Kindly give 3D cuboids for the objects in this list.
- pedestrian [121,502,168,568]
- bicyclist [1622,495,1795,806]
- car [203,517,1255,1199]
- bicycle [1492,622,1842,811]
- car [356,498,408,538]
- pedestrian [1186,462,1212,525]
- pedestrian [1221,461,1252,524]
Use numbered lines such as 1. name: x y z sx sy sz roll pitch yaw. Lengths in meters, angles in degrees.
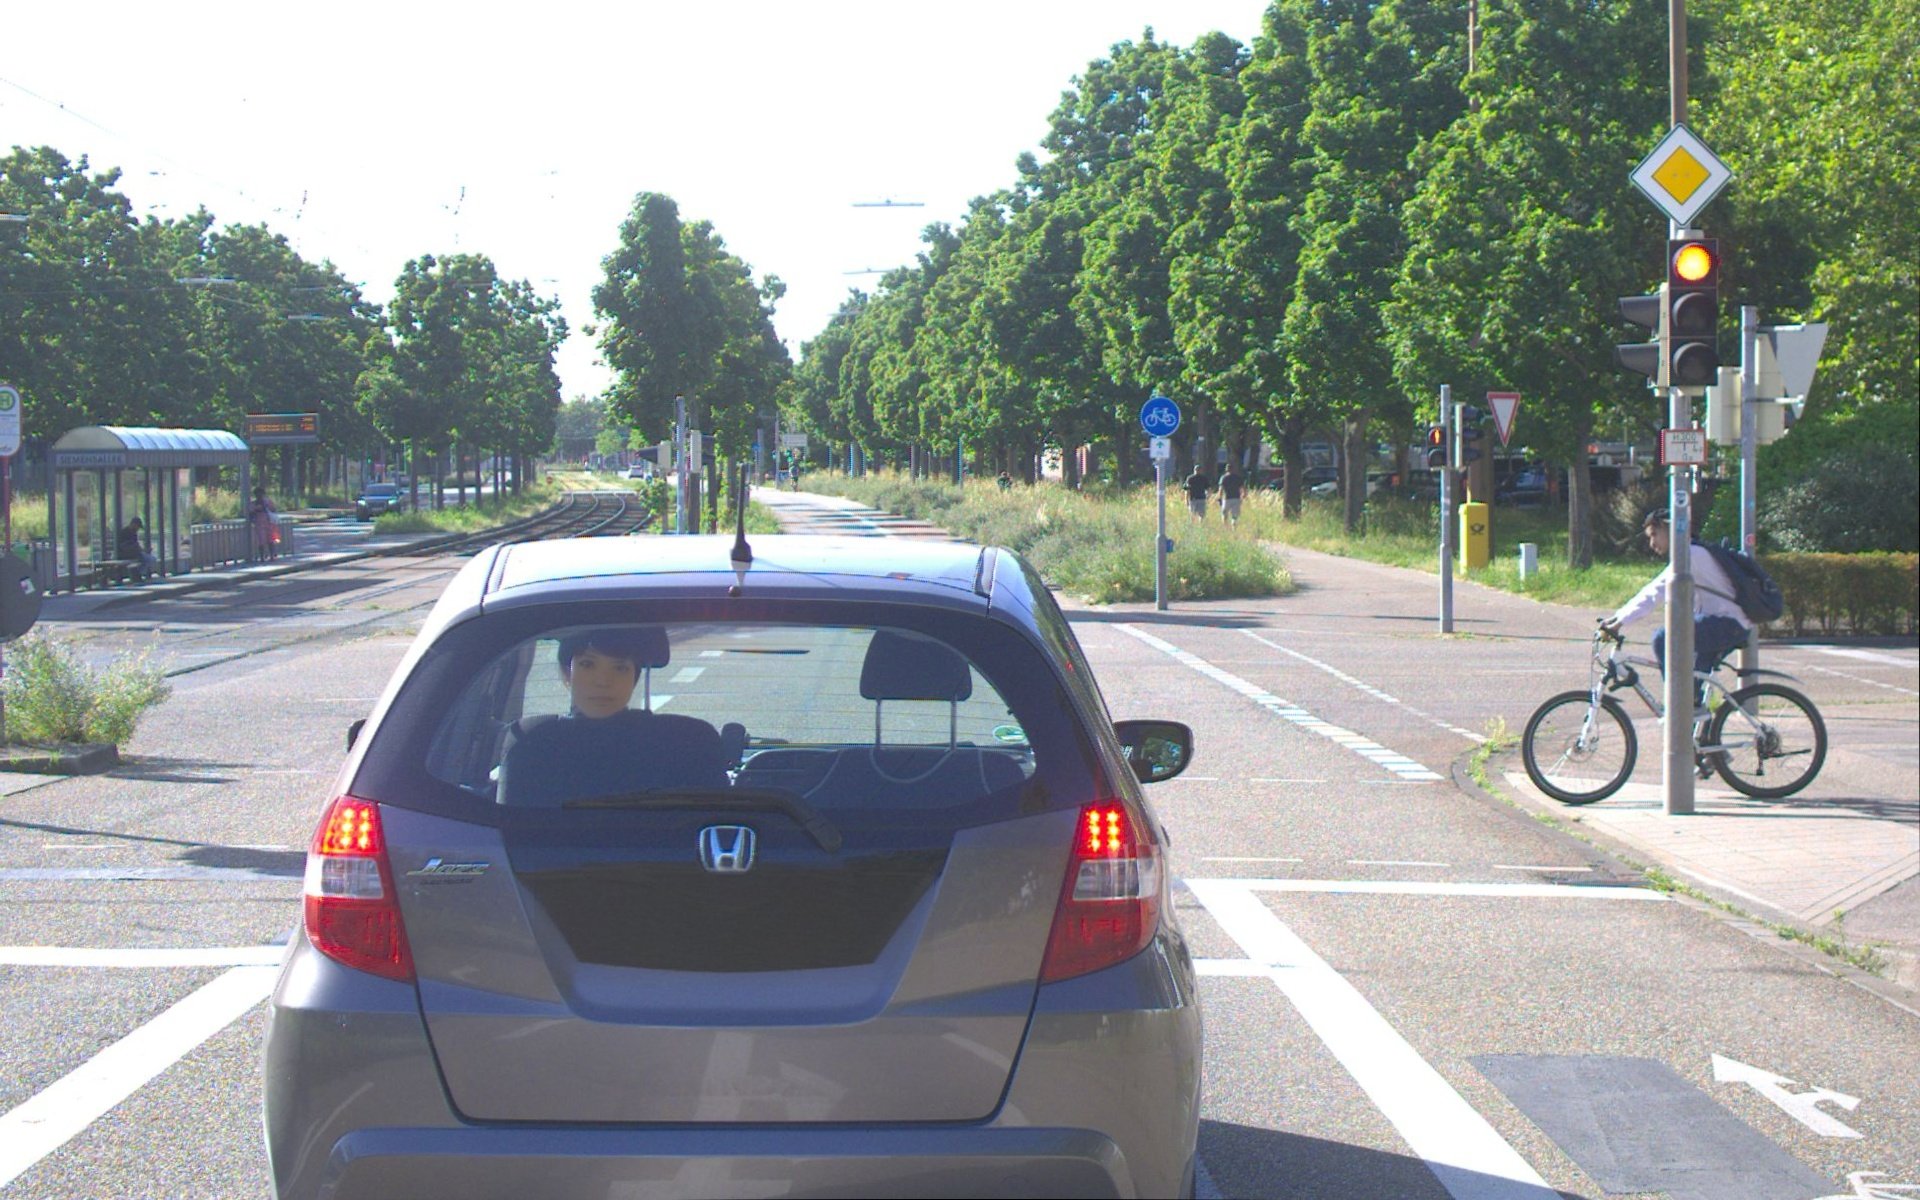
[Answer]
1. pedestrian: -15.570 -1.238 65.628 0.721 1.241 0.711 -1 1 -2
2. bicyclist: 4.293 0.282 19.779 0.910 1.739 0.764 -1 1 10
3. car: -0.381 0.586 7.623 1.707 1.503 4.000 1 1 0
4. bicycle: 4.060 0.657 19.831 1.921 0.994 0.764 1 1 10
5. car: -25.007 -3.545 148.864 1.766 1.732 4.001 0 1 -3
6. pedestrian: 6.124 -2.725 88.110 0.567 1.591 0.666 1 1 -4
7. pedestrian: 7.087 -2.748 88.239 0.678 1.604 0.721 1 1 -3
